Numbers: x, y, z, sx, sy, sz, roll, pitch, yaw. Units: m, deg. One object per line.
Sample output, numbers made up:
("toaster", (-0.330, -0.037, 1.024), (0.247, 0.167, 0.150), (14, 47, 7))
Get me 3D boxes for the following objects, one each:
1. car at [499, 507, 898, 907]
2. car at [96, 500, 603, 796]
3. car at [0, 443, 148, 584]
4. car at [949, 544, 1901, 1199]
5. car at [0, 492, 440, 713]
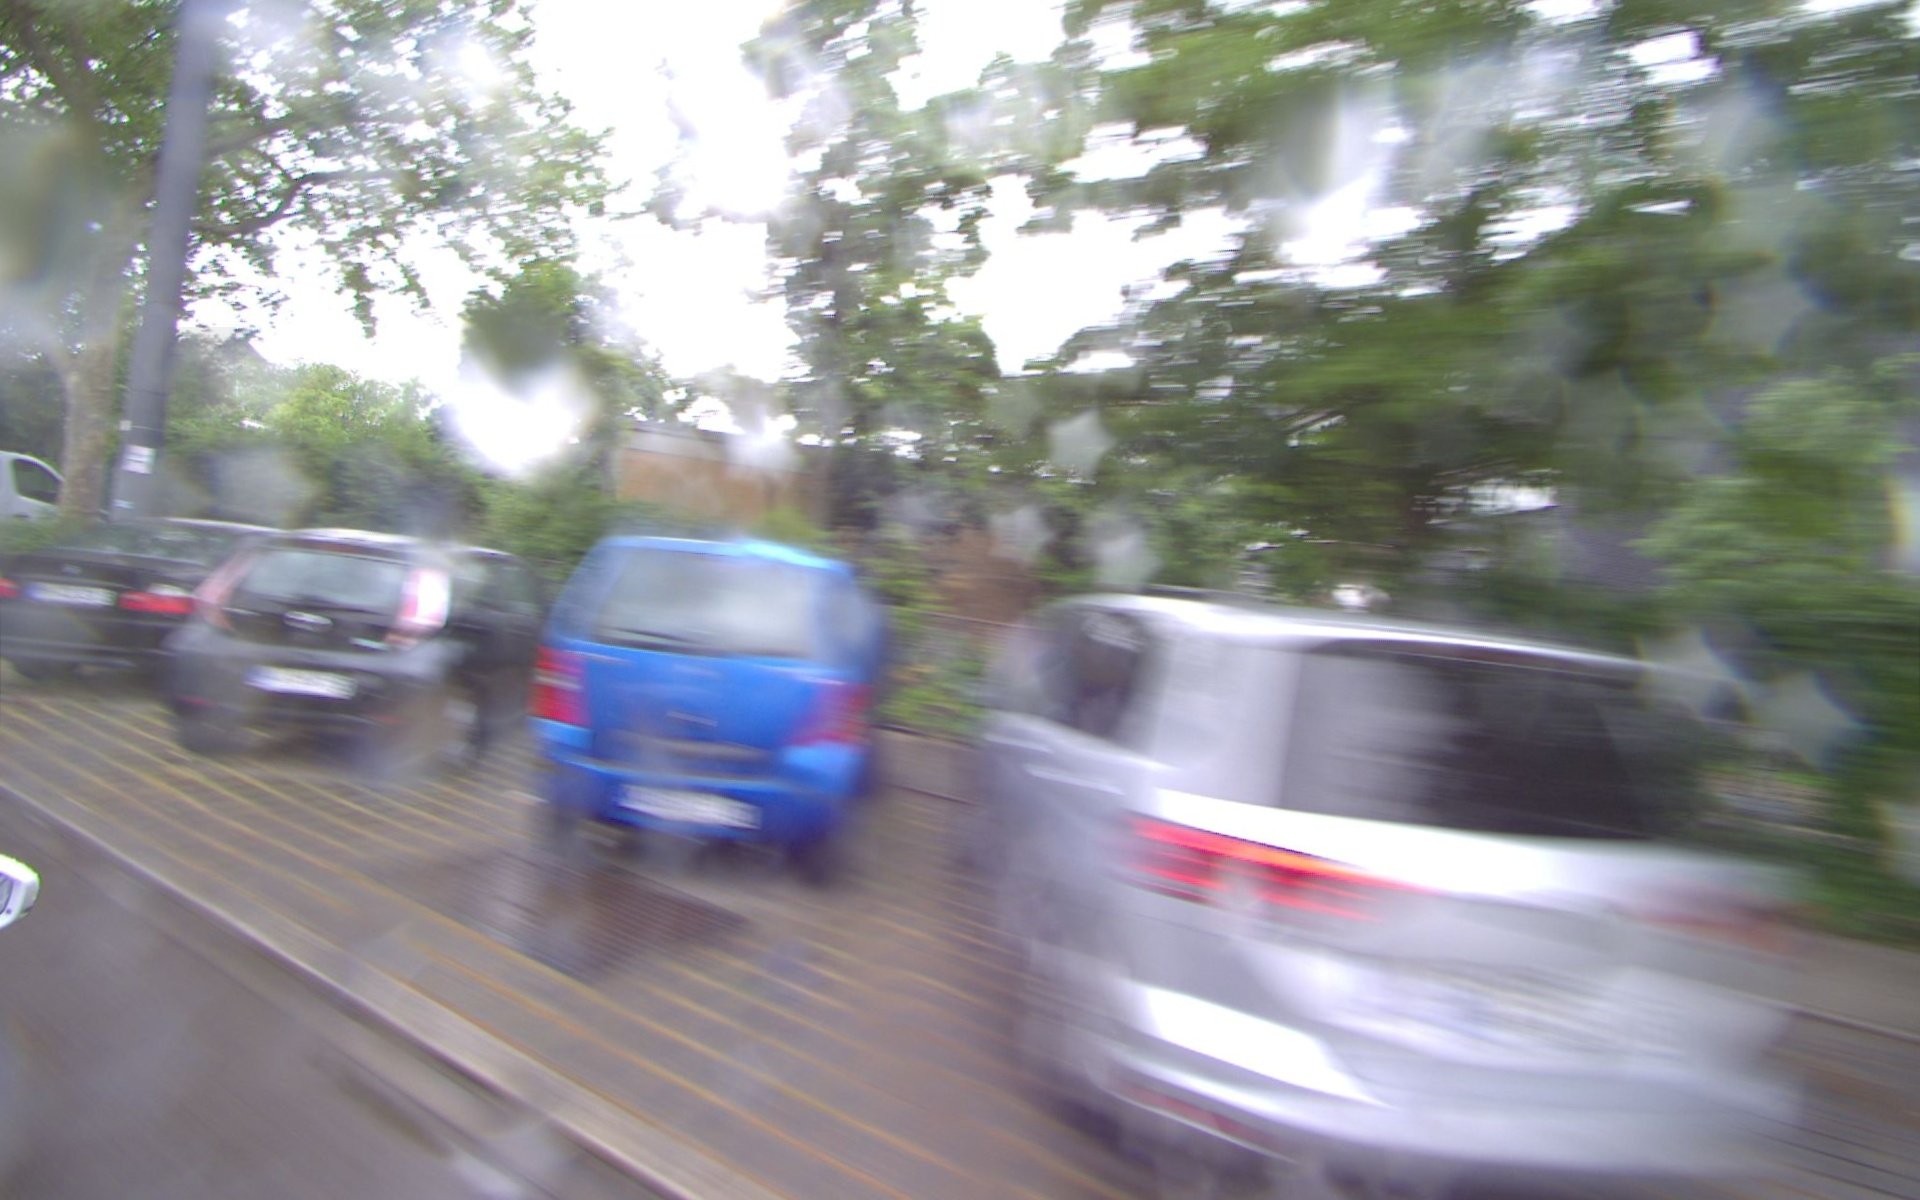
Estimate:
("car", (-1.307, 0.467, 6.260), (1.563, 1.693, 3.272), (6, 1, -2))
("car", (-4.113, 0.246, 7.506), (1.817, 1.538, 3.399), (6, 1, -5))
("car", (-14.852, -1.376, 14.654), (1.964, 2.039, 5.024), (7, 1, -2))
("car", (1.028, 0.770, 4.219), (1.625, 1.662, 4.042), (7, 1, -6))
("car", (-6.604, -0.007, 9.257), (1.711, 1.401, 4.300), (7, 0, -7))
